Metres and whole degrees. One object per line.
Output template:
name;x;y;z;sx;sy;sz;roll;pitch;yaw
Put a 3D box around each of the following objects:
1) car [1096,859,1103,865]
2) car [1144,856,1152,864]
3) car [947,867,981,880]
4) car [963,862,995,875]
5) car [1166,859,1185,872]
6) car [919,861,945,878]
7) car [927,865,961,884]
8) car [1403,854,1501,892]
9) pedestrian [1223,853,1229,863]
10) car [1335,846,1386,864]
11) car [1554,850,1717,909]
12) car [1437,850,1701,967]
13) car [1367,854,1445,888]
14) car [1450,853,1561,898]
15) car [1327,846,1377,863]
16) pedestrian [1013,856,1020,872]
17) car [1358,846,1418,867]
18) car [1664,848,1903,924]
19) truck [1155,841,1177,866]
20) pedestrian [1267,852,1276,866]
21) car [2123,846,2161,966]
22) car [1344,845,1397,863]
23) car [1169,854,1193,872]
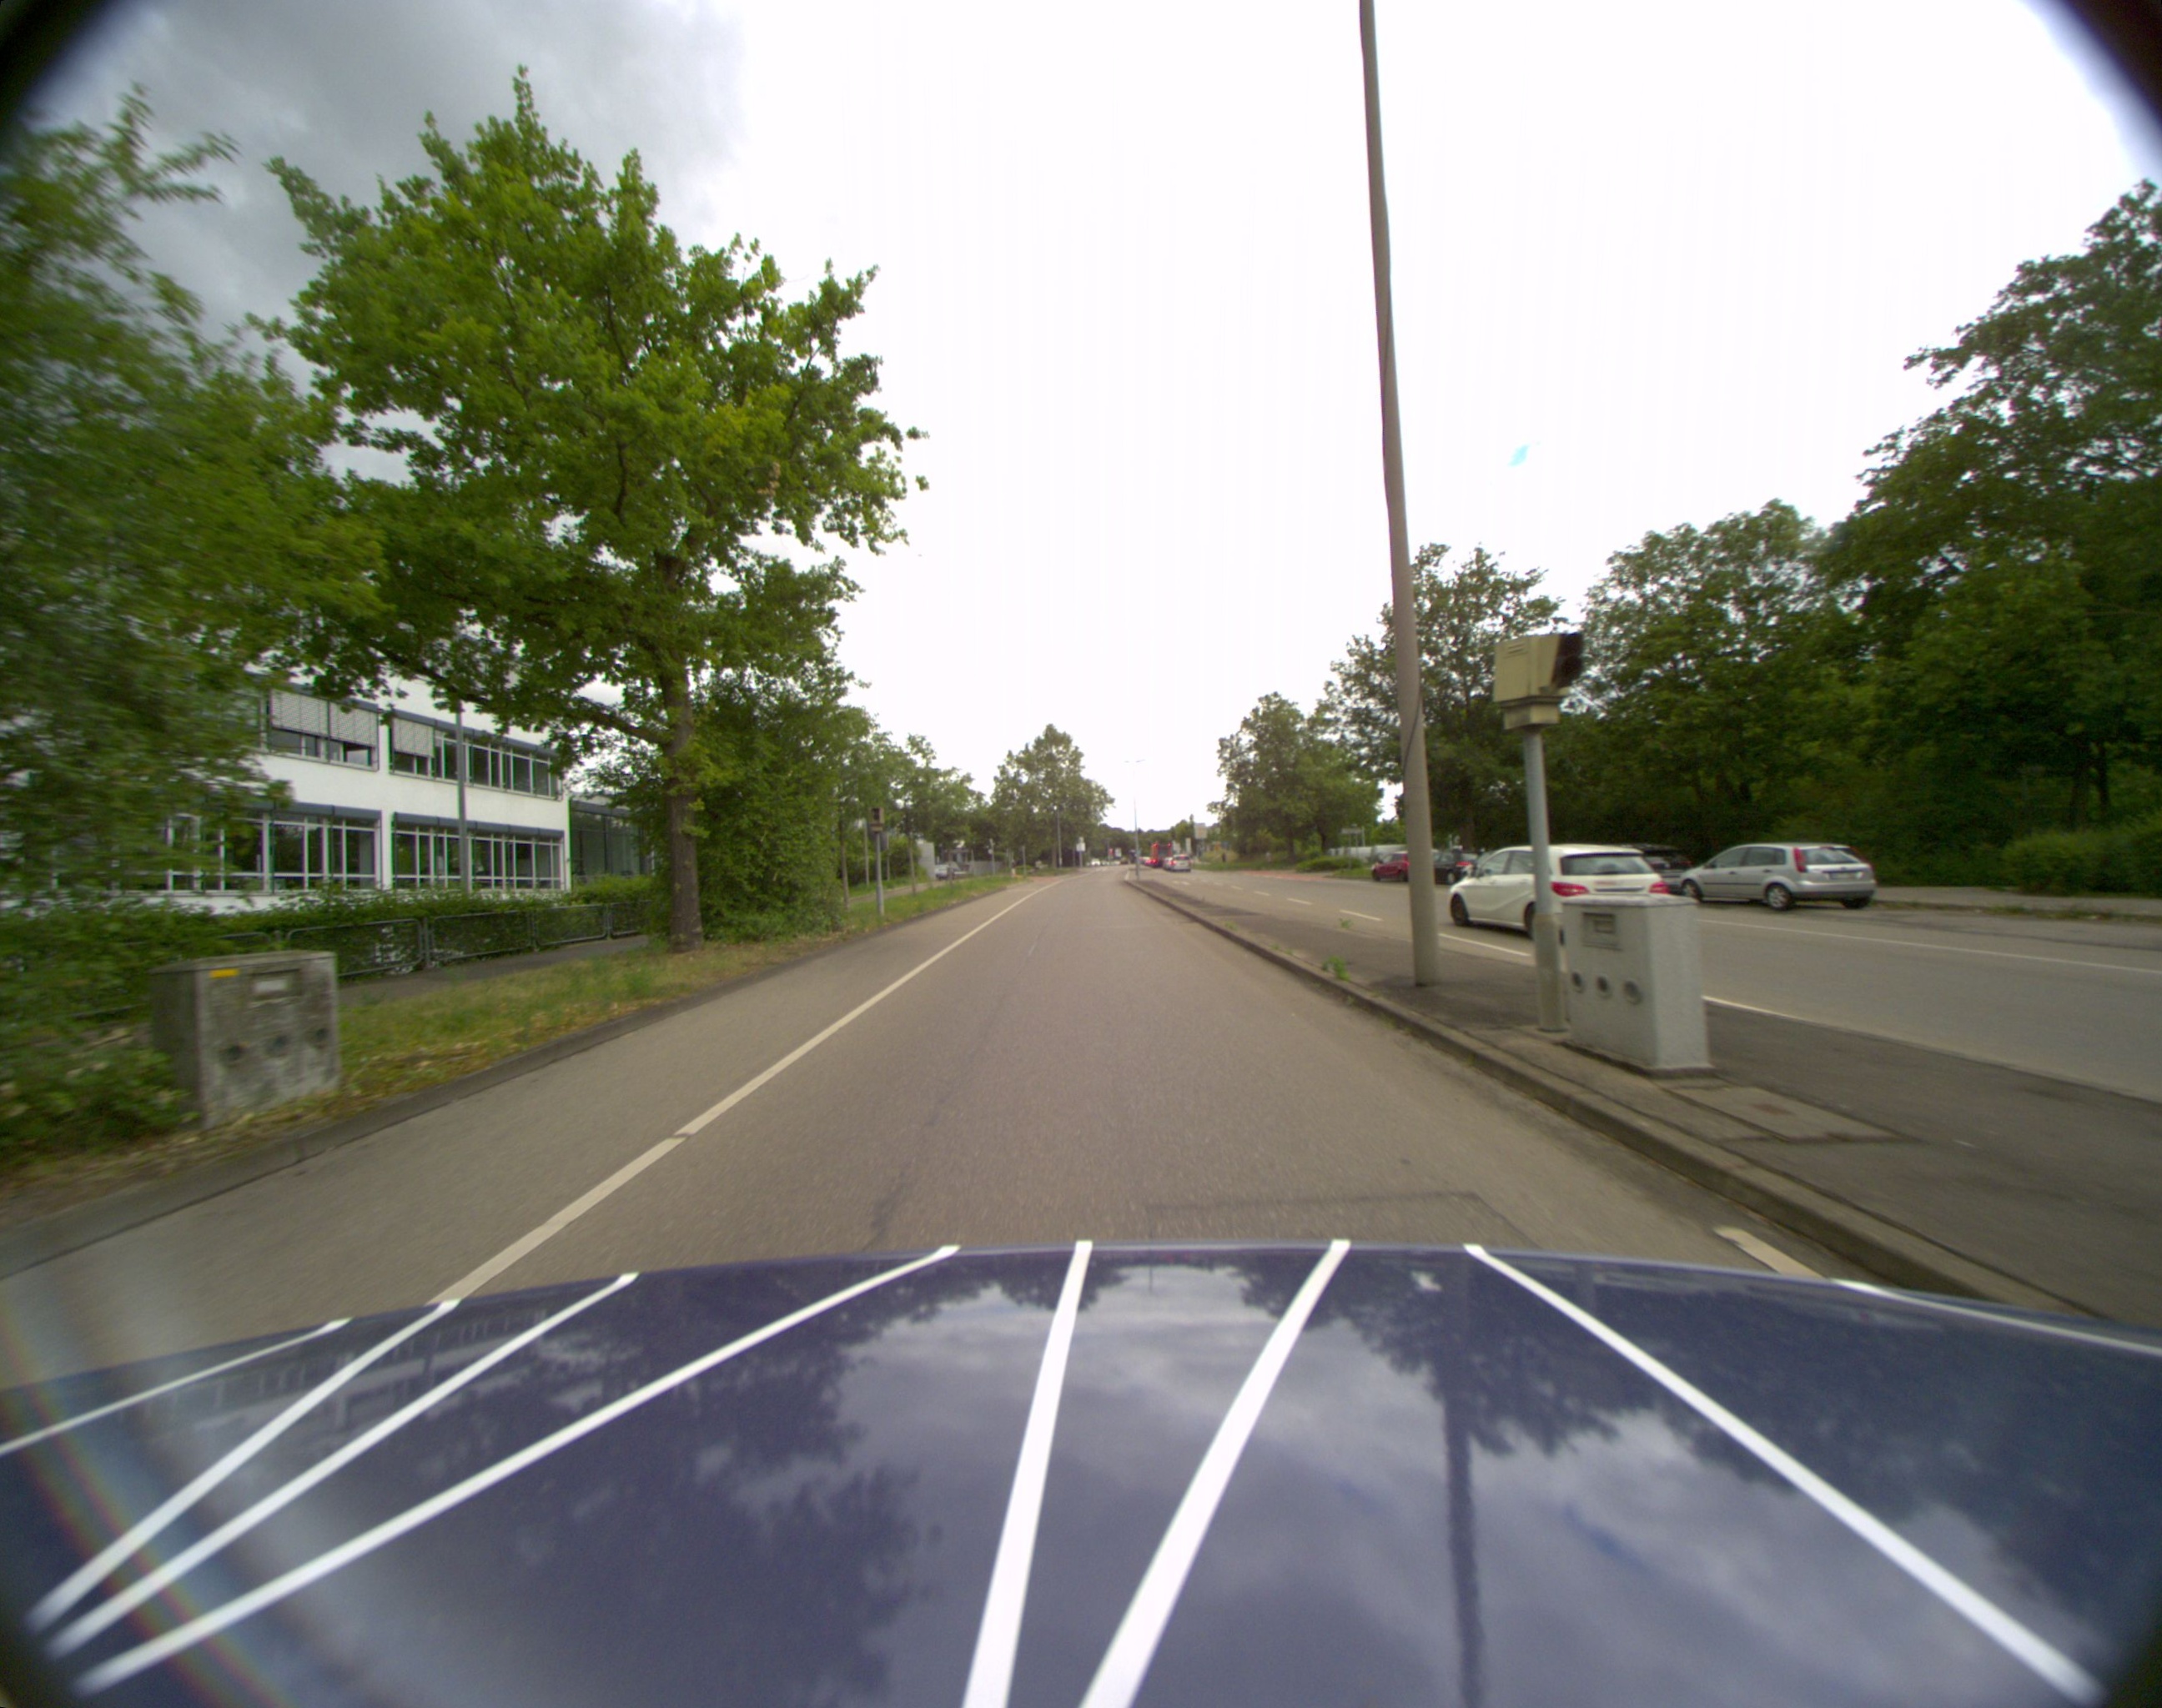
car;4.640;1.932;192.712;1.592;1.480;3.583;-2;0;0
car;13.809;1.148;156.478;1.591;1.608;3.585;-2;0;5
car;-15.541;2.571;100.913;4.188;1.439;1.819;-5;-1;0
car;-14.239;2.056;106.130;4.188;1.439;1.819;-5;-1;0
car;10.578;1.258;85.106;1.733;1.477;4.123;-1;0;2
car;-21.517;2.244;109.633;2.119;2.261;4.474;-1;-1;-31
car;-11.887;1.763;66.113;1.851;1.408;4.982;-4;-1;2
car;16.196;0.805;33.403;1.881;1.498;3.997;-3;0;-8
pedestrian;20.494;0.528;107.407;0.757;1.438;0.639;-3;1;1
car;32.374;0.094;88.008;5.298;2.002;1.739;0;1;0
car;16.075;0.699;22.317;1.880;1.498;4.001;-3;-1;2
car;8.043;0.776;13.115;1.879;1.561;4.339;-3;1;3
car;16.145;0.815;38.016;1.881;1.498;3.886;-3;0;-6
car;15.886;0.773;28.703;1.880;1.498;4.057;-3;0;0
car;32.185;0.078;90.270;5.298;2.002;1.739;0;1;0
pedestrian;-7.085;1.138;83.701;0.734;1.717;0.501;-1;1;-3
car;31.035;0.252;76.847;5.298;2.002;2.011;0;1;0
car;15.872;0.673;17.512;1.879;1.498;4.001;-2;0;2
truck;12.156;-0.073;109.718;2.831;3.460;7.826;-2;0;5
pedestrian;22.618;0.591;90.238;0.757;1.727;0.638;-3;1;-8
car;15.080;0.613;8.273;1.883;1.498;3.994;-2;0;-18
car;32.286;0.019;84.846;5.297;2.002;1.739;0;1;1
car;10.390;0.950;79.159;1.833;1.759;4.407;-3;0;0
